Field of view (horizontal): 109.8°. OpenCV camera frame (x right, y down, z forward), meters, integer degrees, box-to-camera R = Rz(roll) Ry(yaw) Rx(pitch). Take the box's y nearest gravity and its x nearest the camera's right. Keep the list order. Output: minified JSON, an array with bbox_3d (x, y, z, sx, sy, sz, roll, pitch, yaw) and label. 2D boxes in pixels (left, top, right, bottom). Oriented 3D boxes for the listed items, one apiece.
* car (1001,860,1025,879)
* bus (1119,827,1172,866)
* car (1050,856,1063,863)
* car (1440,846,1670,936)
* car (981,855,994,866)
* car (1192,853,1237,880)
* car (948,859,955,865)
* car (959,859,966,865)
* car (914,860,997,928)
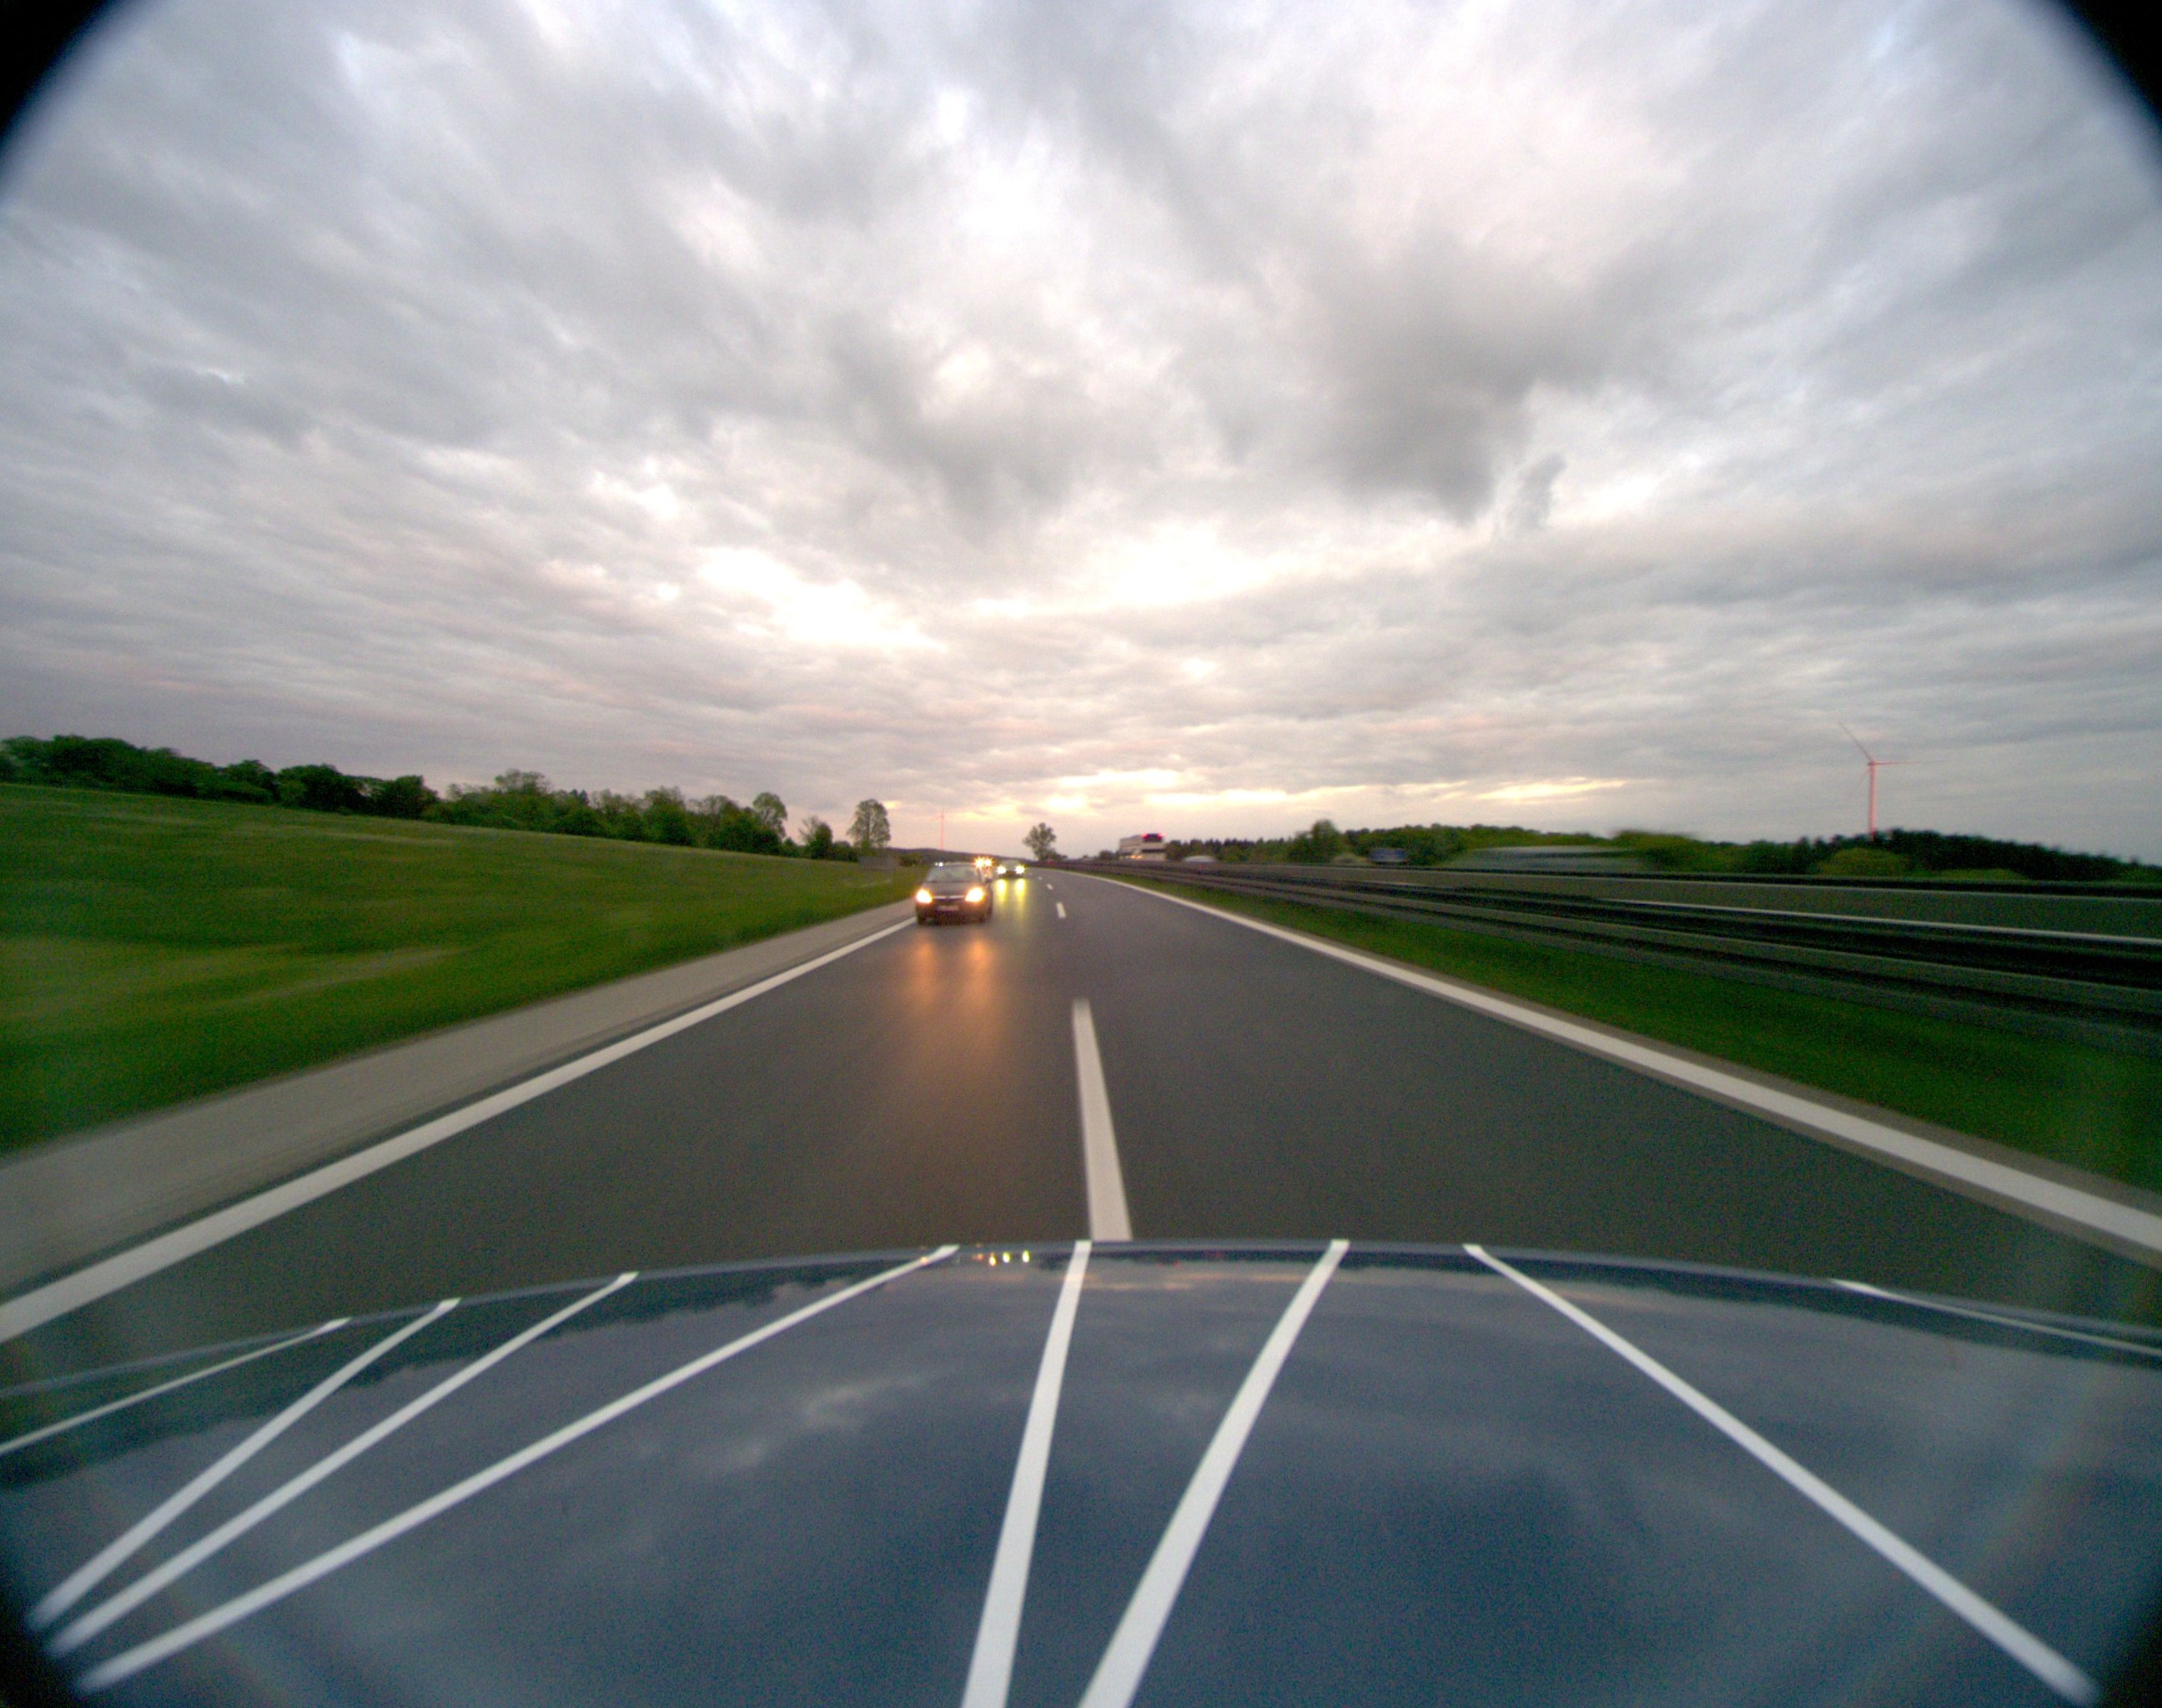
[{"bbox_3d":[-5.472,1.224,61.035,1.885,1.388,3.998,0,0,-5],"label":"car"},{"bbox_3d":[7.293,-0.837,88.890,3.175,4.052,14.800,-2,1,-6],"label":"bus"},{"bbox_3d":[-5.156,1.215,160.971,1.922,1.501,4.725,1,0,-11],"label":"car"},{"bbox_3d":[9.554,0.665,15.843,1.846,1.586,4.406,1,0,-3],"label":"car"},{"bbox_3d":[-16.794,1.157,135.897,1.921,1.827,3.995,0,0,-12],"label":"car"},{"bbox_3d":[8.119,0.732,46.456,1.870,1.506,3.999,-2,0,-2],"label":"car"},{"bbox_3d":[-37.881,2.226,222.136,1.804,1.635,4.088,-1,1,-15],"label":"car"},{"bbox_3d":[-31.380,2.084,201.130,1.804,1.635,4.090,-1,1,-11],"label":"car"},{"bbox_3d":[-3.188,0.961,19.913,1.682,1.504,3.999,-1,0,-3],"label":"car"}]
